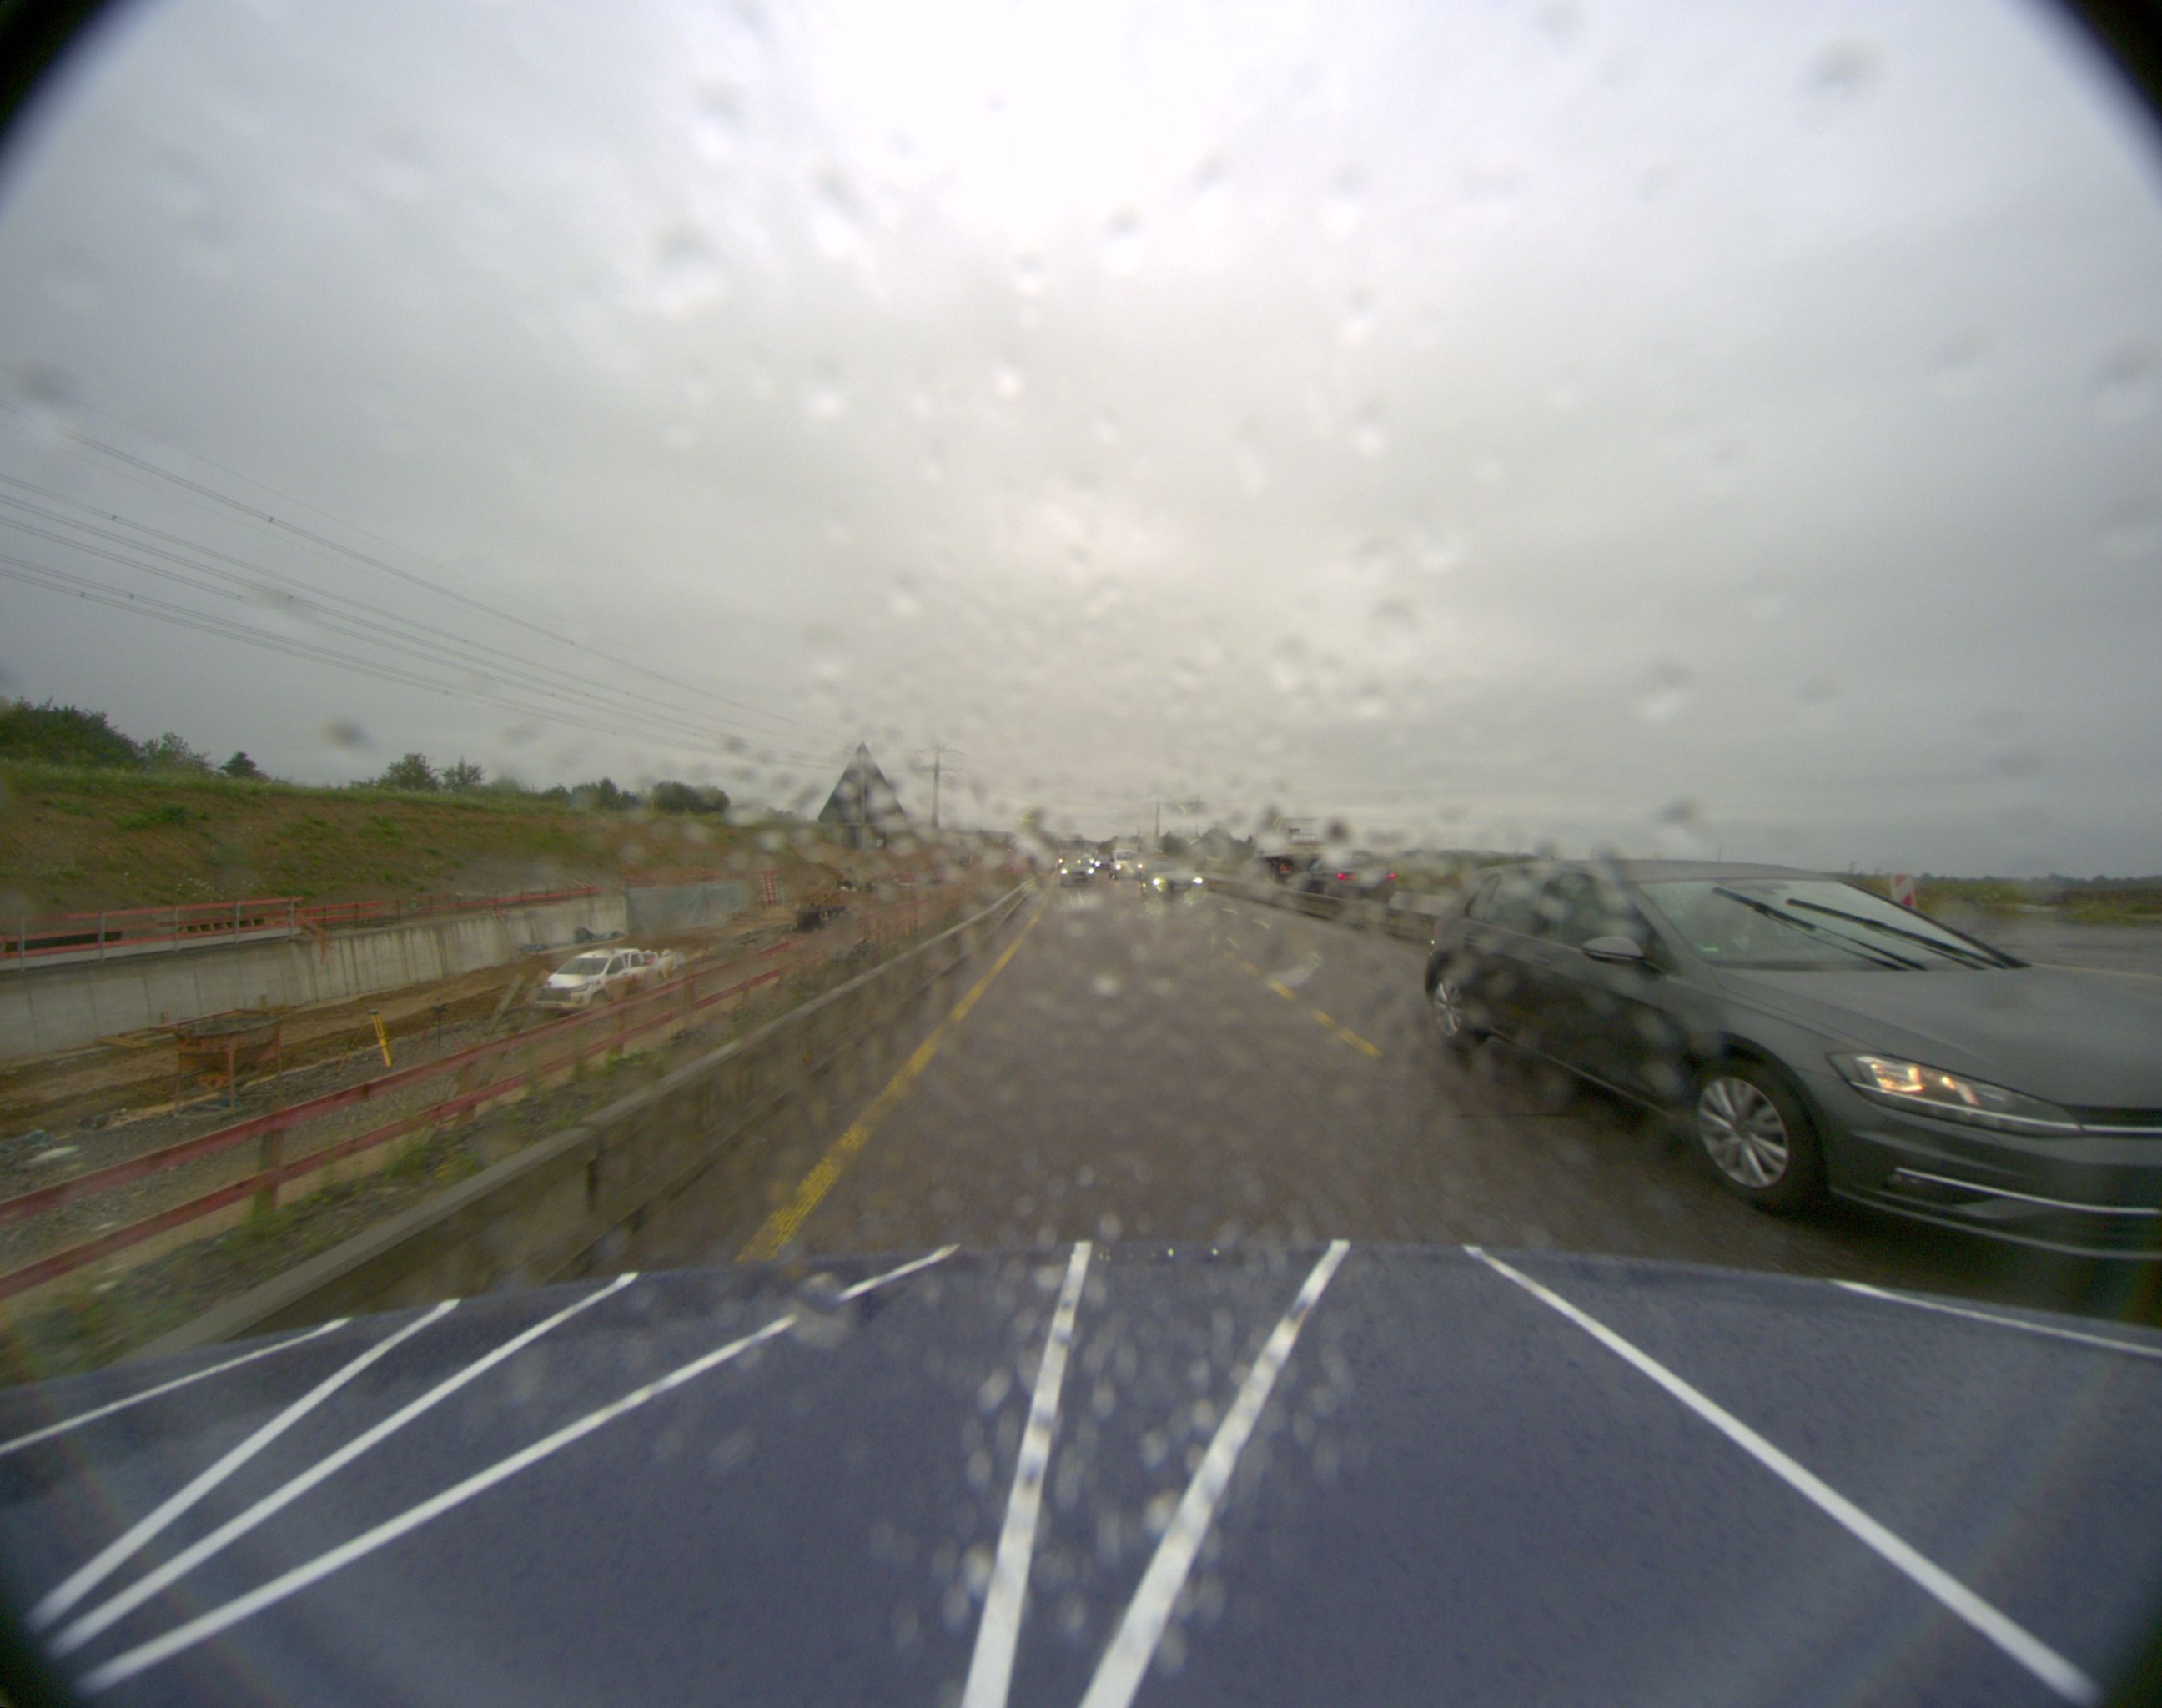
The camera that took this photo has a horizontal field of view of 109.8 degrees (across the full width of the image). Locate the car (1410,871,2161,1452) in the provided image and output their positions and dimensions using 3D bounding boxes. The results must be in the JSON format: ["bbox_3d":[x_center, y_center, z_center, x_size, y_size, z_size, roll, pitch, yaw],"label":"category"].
[{"bbox_3d":[3.518,0.895,4.132,1.654,1.414,4.079,-1,1,0],"label":"car"}]

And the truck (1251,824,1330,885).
[{"bbox_3d":[10.863,0.002,39.965,2.364,2.877,6.548,1,0,0],"label":"truck"}]

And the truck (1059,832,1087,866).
[{"bbox_3d":[-0.810,-0.596,86.841,2.837,3.617,9.119,-2,1,1],"label":"truck"}]

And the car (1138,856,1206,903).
[{"bbox_3d":[3.113,0.837,26.787,1.800,1.389,4.268,-2,1,-1],"label":"car"}]

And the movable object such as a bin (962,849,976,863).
[{"bbox_3d":[-22.278,0.445,150.860,2.252,2.703,3.999,-2,1,-2],"label":"movable object such as a bin"}]

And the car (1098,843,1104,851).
[{"bbox_3d":[6.645,-2.283,249.224,1.730,2.707,4.090,0,1,-1],"label":"car"}]

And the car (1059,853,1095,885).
[{"bbox_3d":[-0.156,0.759,40.597,1.799,1.524,4.307,-2,0,1],"label":"car"}]

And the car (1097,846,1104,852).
[{"bbox_3d":[5.902,-1.442,232.136,1.730,1.749,4.089,0,1,-2],"label":"car"}]

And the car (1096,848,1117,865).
[{"bbox_3d":[2.428,0.212,73.212,1.799,1.521,4.067,-2,1,1],"label":"car"}]

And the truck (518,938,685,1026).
[{"bbox_3d":[-15.722,4.118,25.415,1.766,1.860,5.786,0,1,2],"label":"truck"}]

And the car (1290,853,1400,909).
[{"bbox_3d":[7.927,0.740,23.345,1.751,1.486,4.749,-1,0,0],"label":"car"}]

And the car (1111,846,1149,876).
[{"bbox_3d":[3.241,0.400,50.897,2.161,1.848,5.178,-2,1,0],"label":"car"}]

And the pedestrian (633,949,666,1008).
[{"bbox_3d":[-14.647,4.194,25.782,0.812,1.789,0.934,-1,2,-39],"label":"pedestrian"}]

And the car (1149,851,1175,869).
[{"bbox_3d":[6.419,0.455,60.653,1.642,1.388,3.591,-2,1,0],"label":"car"}]

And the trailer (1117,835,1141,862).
[{"bbox_3d":[7.916,-0.898,127.742,2.794,4.176,13.671,0,0,-2],"label":"trailer"}]

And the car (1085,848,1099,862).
[{"bbox_3d":[1.548,0.090,109.021,1.800,1.850,4.286,-2,1,0],"label":"car"}]
